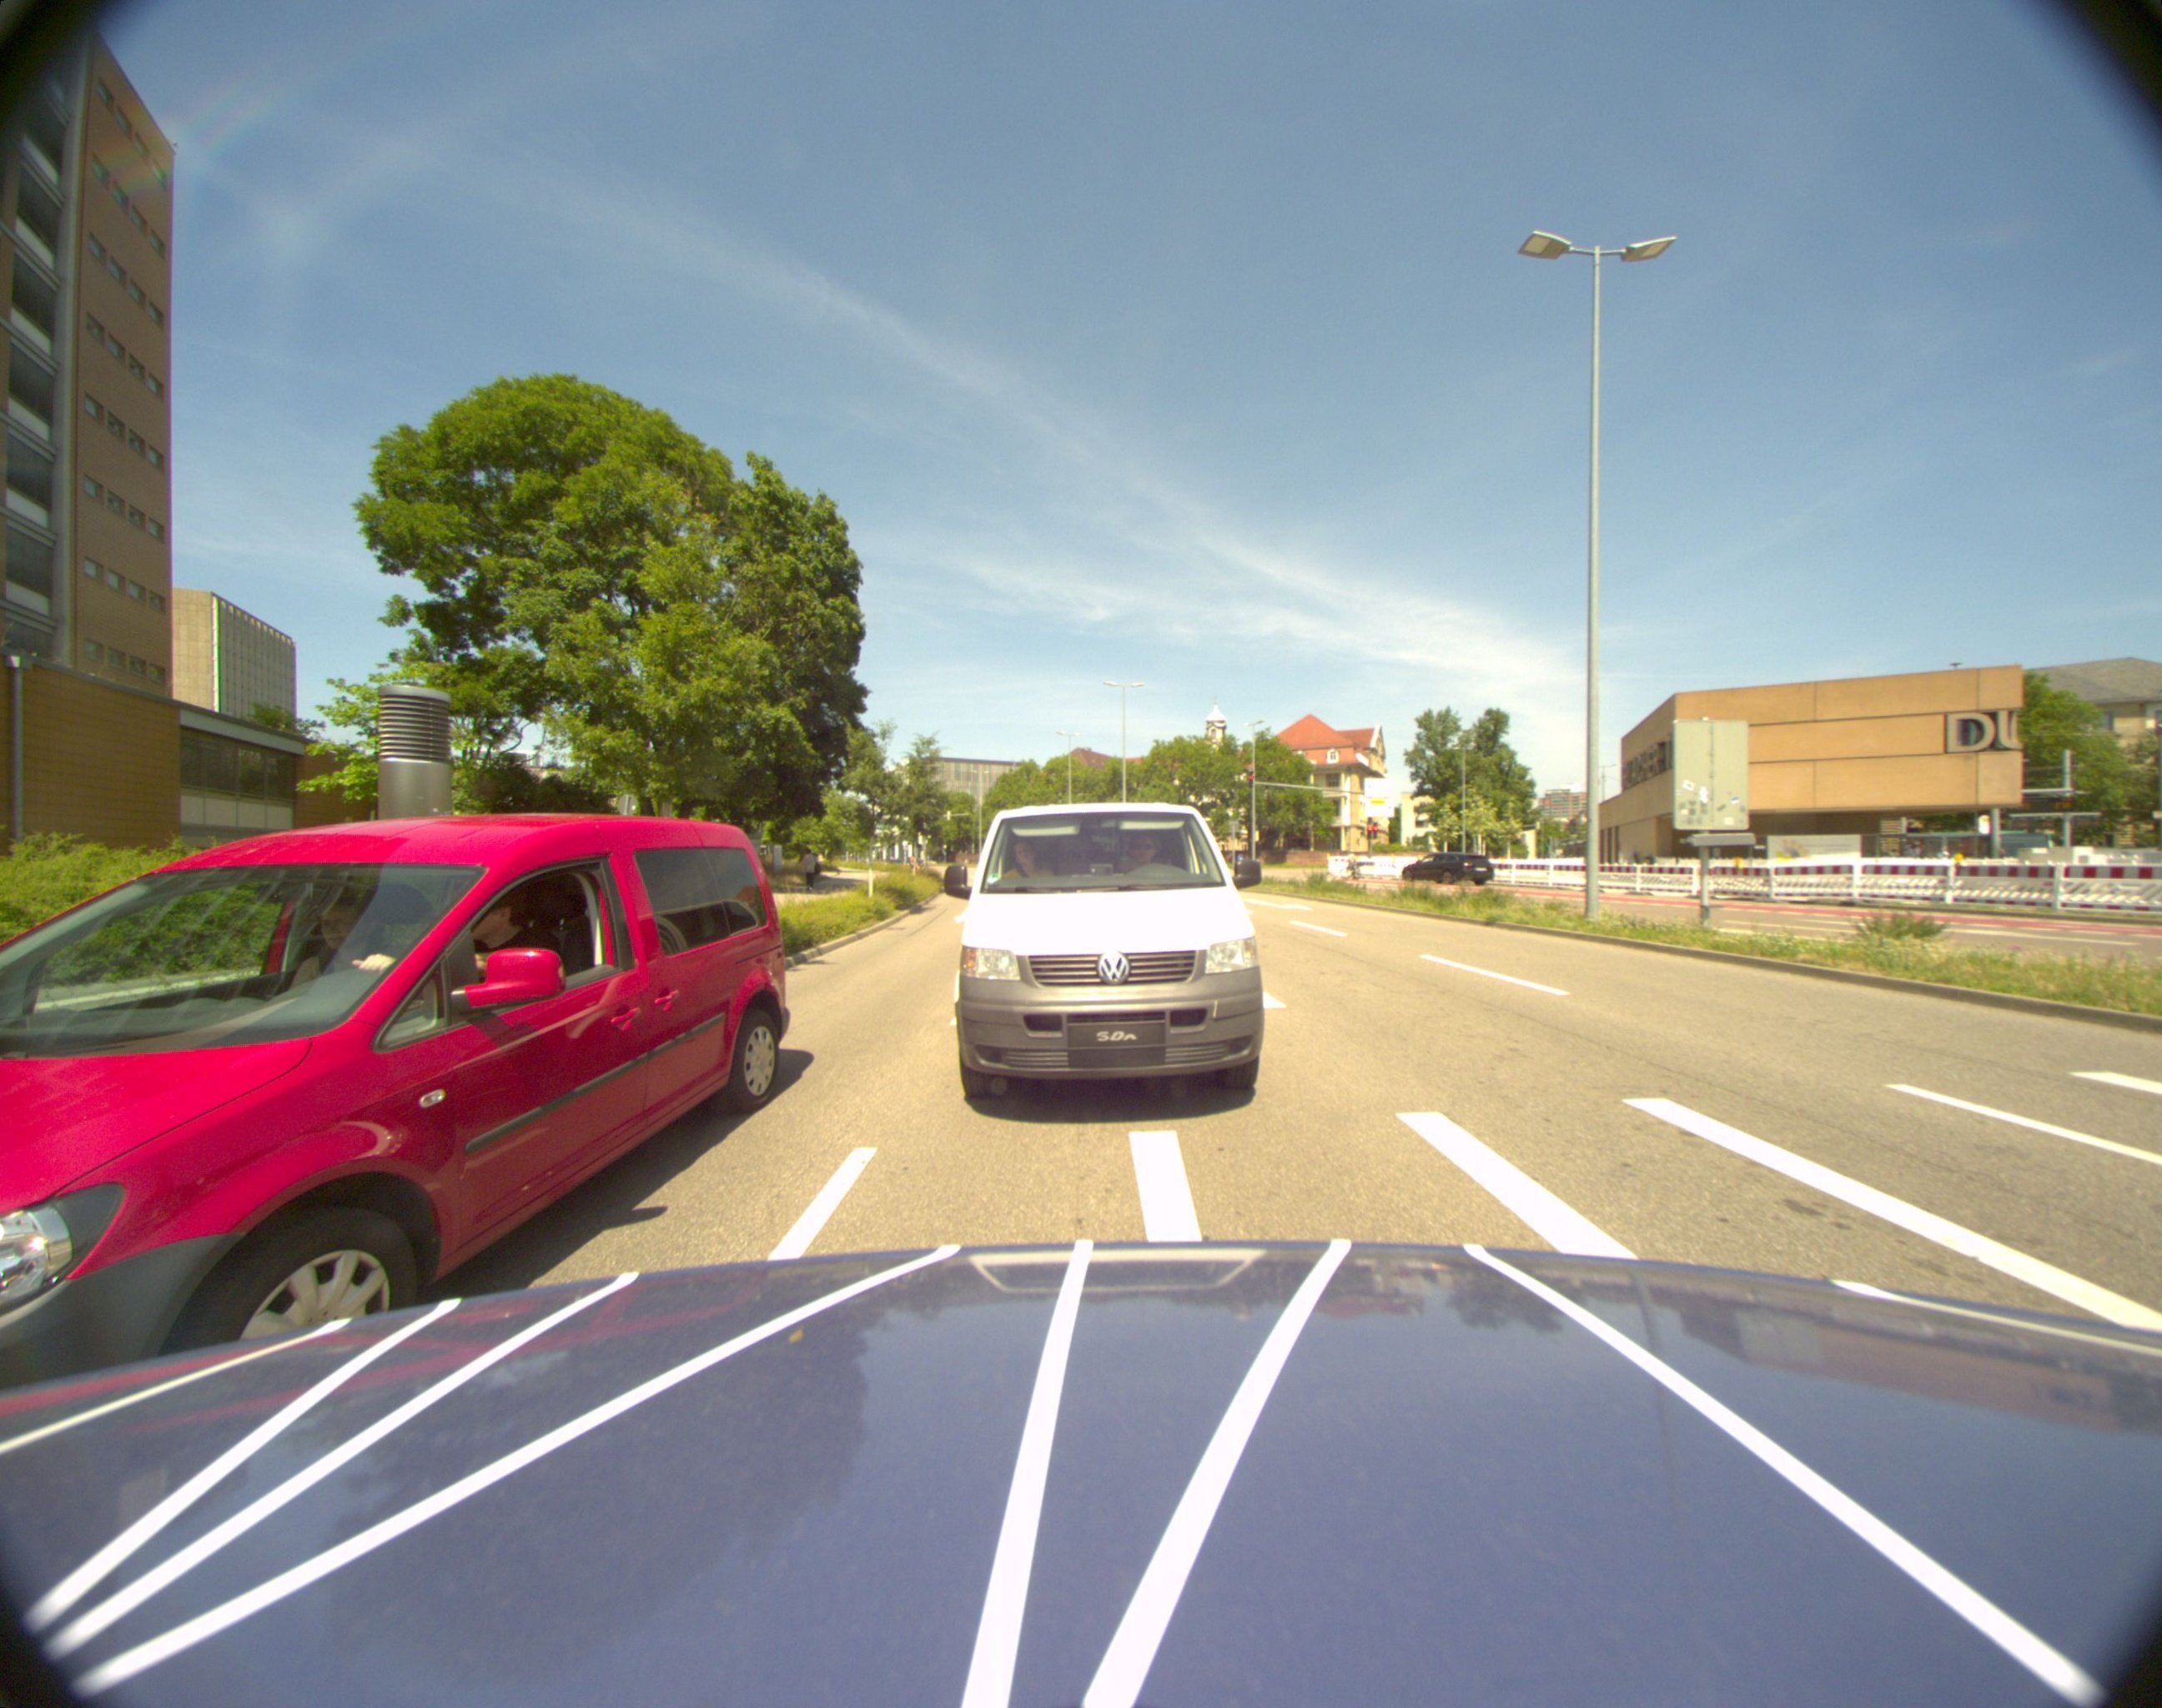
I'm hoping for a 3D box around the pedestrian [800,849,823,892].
[{"bbox_3d":[-11.160,0.681,31.464,0.728,1.787,0.614,0,1,2],"label":"pedestrian"}]

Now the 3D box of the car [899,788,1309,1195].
[{"bbox_3d":[0.115,0.672,6.200,1.971,1.958,4.848,-2,0,0],"label":"car"}]

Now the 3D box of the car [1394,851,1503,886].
[{"bbox_3d":[16.657,0.604,34.757,2.000,1.456,4.841,0,0,-11],"label":"car"}]

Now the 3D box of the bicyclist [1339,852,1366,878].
[{"bbox_3d":[14.544,0.591,40.736,0.587,1.348,1.438,-3,1,-14],"label":"bicyclist"}]

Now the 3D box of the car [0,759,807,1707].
[{"bbox_3d":[-2.864,0.755,3.196,1.655,1.848,4.546,-1,0,1],"label":"car"}]

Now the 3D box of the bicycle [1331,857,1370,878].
[{"bbox_3d":[14.479,0.720,40.891,0.879,1.066,2.229,-2,1,-14],"label":"bicycle"}]
